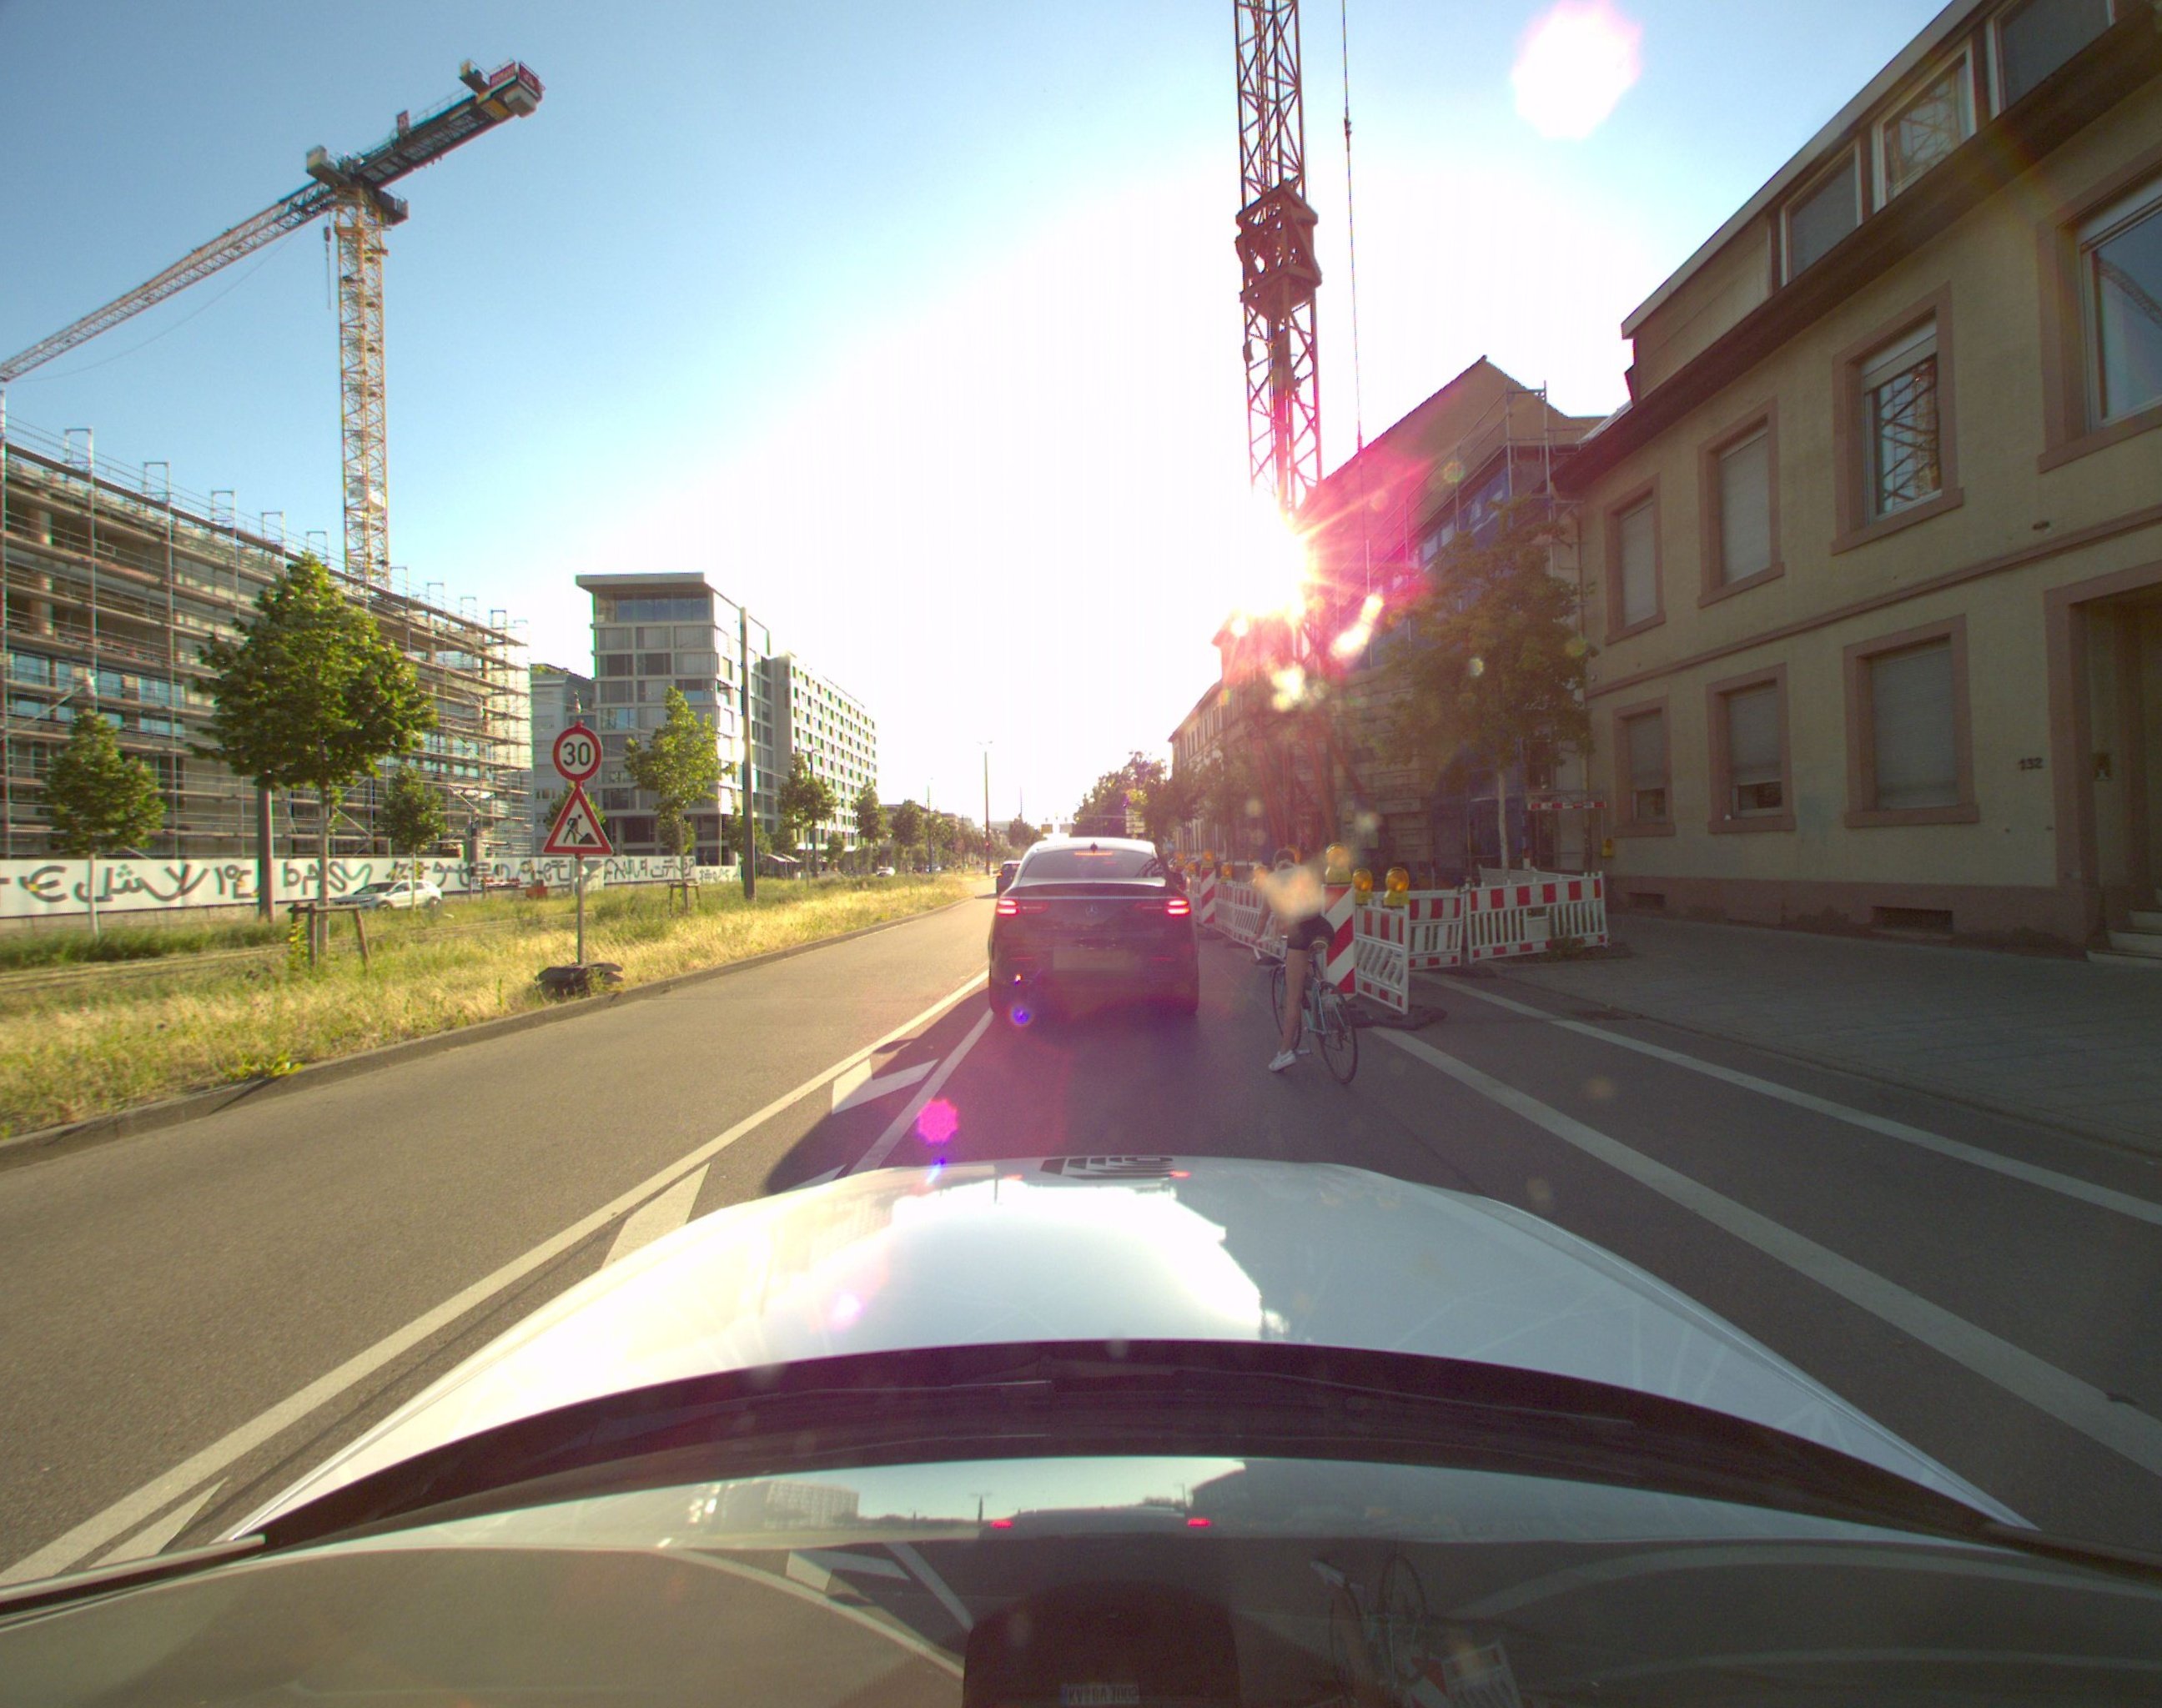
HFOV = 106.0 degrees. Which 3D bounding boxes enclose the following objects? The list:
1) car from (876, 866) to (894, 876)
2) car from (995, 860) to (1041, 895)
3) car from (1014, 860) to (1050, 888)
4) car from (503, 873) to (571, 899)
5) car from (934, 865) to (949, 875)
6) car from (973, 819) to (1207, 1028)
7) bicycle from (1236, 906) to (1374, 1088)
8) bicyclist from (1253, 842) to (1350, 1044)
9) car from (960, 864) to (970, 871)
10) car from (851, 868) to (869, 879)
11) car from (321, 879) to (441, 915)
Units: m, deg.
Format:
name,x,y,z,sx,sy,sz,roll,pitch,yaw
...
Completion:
name,x,y,z,sx,sy,sz,roll,pitch,yaw
car,-28.006,2.393,116.361,1.703,1.442,3.581,0,-1,0
car,-2.708,0.985,35.536,1.703,1.442,3.581,0,-1,0
car,-2.542,1.024,42.917,1.703,1.442,3.581,0,-1,0
car,-32.765,1.891,49.139,1.703,1.442,3.581,0,-1,0
car,-21.422,2.413,125.388,1.703,1.442,3.581,0,-1,0
car,0.140,0.611,8.965,1.986,1.772,4.001,0,-1,2
bicycle,1.585,0.958,6.025,0.511,1.052,1.724,0,-1,-1
bicyclist,1.591,0.616,5.939,0.521,1.395,0.614,0,-1,-1
car,-25.771,3.031,181.656,1.703,1.442,3.581,0,-1,0
car,-32.185,2.825,118.535,1.703,1.442,3.581,0,-1,0
car,-30.273,1.826,35.390,1.522,1.310,4.094,-1,0,2
